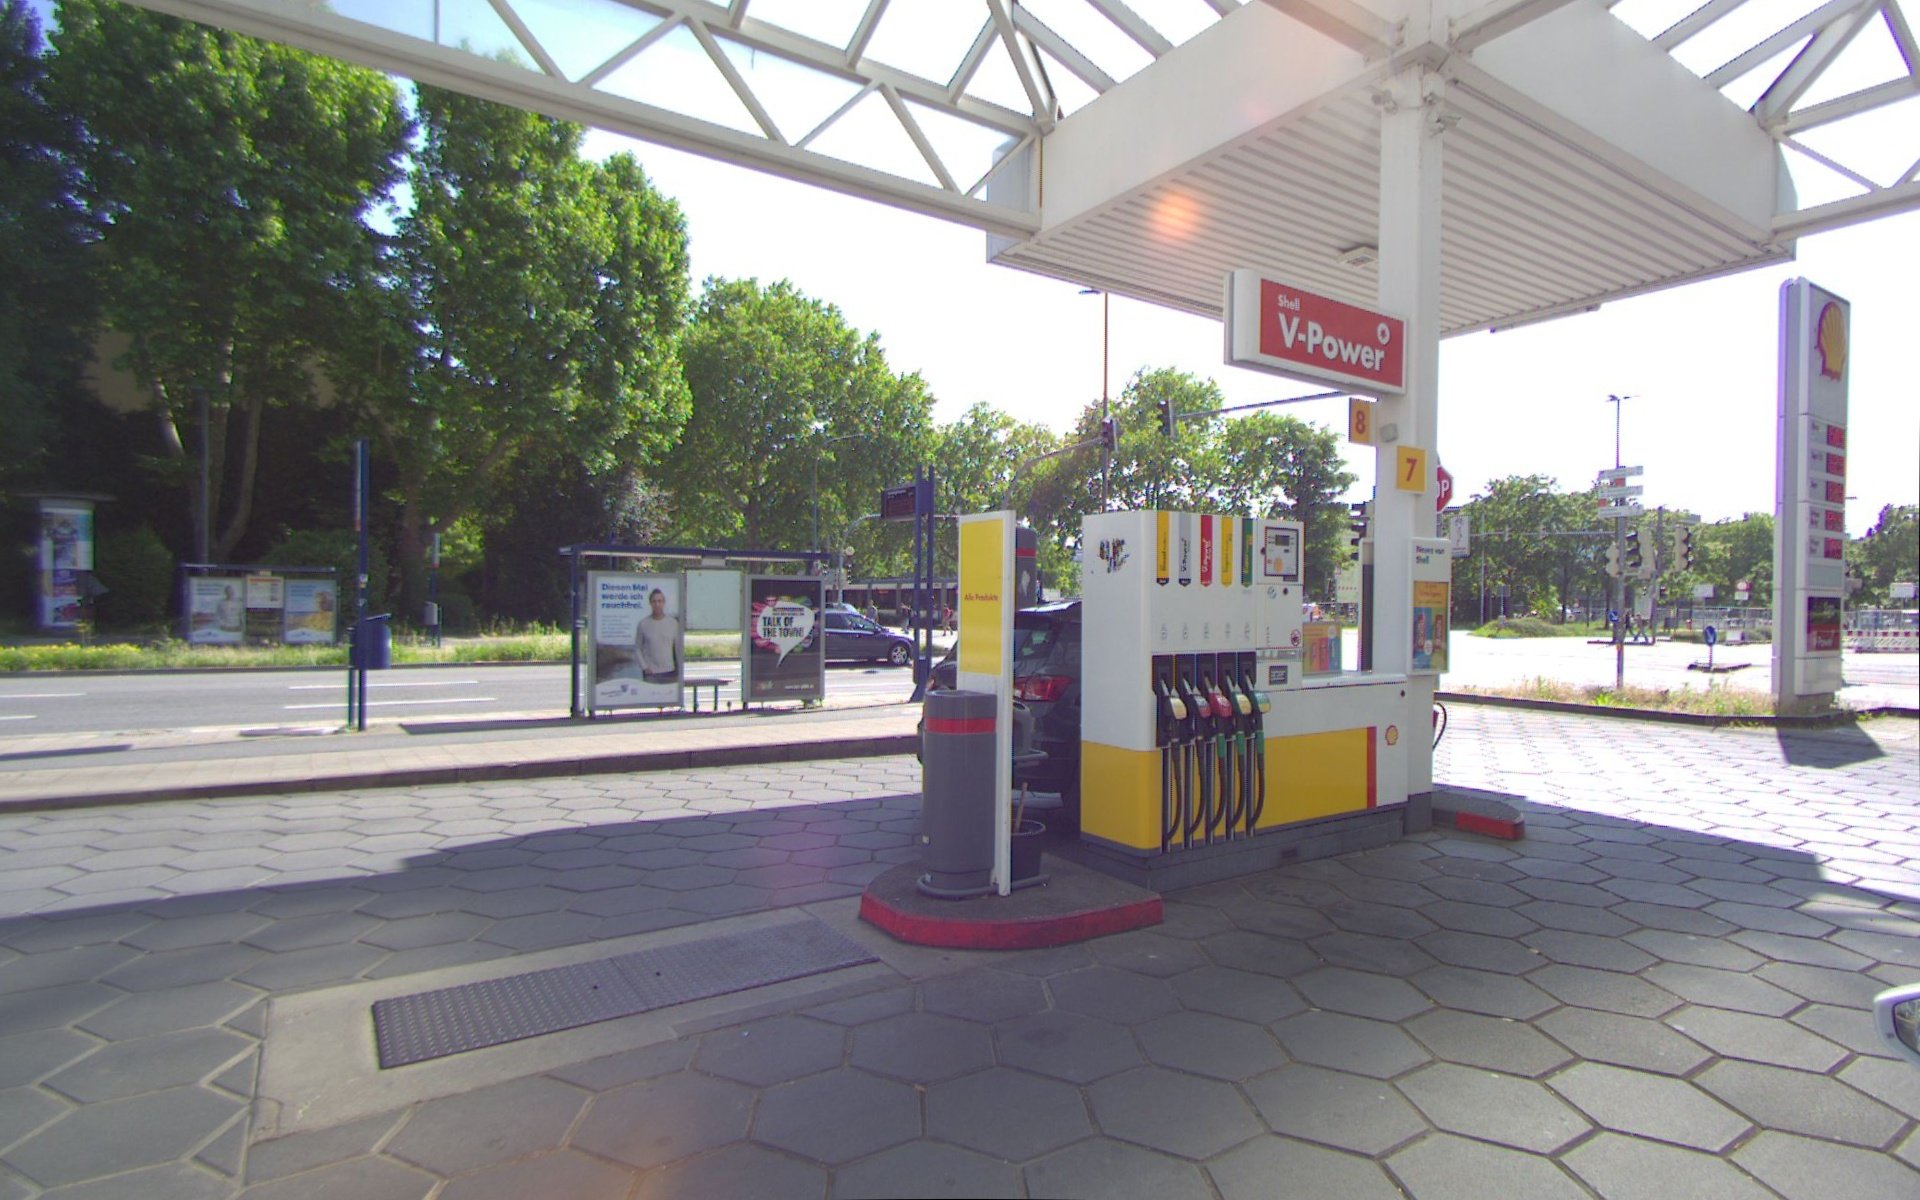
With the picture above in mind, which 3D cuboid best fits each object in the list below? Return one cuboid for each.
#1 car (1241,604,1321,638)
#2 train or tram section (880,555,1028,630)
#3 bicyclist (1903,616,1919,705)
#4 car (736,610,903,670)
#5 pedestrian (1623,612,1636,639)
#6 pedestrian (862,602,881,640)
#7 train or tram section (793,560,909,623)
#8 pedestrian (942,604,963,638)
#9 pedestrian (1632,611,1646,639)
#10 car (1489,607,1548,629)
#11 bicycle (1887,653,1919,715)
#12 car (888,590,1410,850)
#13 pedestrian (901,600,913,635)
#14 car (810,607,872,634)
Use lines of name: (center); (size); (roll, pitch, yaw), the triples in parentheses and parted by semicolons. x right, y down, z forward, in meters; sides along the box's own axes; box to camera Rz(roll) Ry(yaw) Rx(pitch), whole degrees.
car: (19.822, 1.319, 62.062); (4.368, 2.040, 1.996); (-1, -2, 30)
train or tram section: (-0.789, -0.472, 68.046); (2.304, 4.549, 14.806); (1, 0, -33)
bicyclist: (17.618, 1.094, 17.782); (0.629, 1.601, 1.169); (1, 0, -15)
car: (-3.608, 1.006, 26.051); (3.960, 1.385, 1.669); (1, 2, -34)
pedestrian: (36.924, 1.407, 55.418); (0.555, 1.488, 0.512); (1, 0, 32)
pedestrian: (-4.428, 1.055, 50.163); (0.757, 1.881, 0.724); (0, -2, 13)
train or tram section: (-9.109, -0.612, 80.830); (2.304, 4.549, 15.779); (1, 0, -33)
pedestrian: (-0.386, 1.119, 52.174); (0.864, 1.746, 0.678); (2, -2, -43)
pedestrian: (36.664, 1.330, 54.230); (0.555, 1.488, 0.512); (1, 0, 32)
car: (47.694, 1.586, 85.885); (1.976, 1.839, 3.970); (1, -2, -29)
bicycle: (17.658, 1.529, 17.621); (0.629, 1.096, 2.020); (1, 0, -14)
car: (1.583, 0.771, 7.842); (3.959, 1.552, 1.733); (1, -2, -34)
pedestrian: (-3.083, 1.012, 58.528); (0.691, 2.013, 0.741); (0, -2, -3)
car: (-7.151, 1.261, 60.040); (1.853, 1.532, 3.955); (1, -2, -39)
